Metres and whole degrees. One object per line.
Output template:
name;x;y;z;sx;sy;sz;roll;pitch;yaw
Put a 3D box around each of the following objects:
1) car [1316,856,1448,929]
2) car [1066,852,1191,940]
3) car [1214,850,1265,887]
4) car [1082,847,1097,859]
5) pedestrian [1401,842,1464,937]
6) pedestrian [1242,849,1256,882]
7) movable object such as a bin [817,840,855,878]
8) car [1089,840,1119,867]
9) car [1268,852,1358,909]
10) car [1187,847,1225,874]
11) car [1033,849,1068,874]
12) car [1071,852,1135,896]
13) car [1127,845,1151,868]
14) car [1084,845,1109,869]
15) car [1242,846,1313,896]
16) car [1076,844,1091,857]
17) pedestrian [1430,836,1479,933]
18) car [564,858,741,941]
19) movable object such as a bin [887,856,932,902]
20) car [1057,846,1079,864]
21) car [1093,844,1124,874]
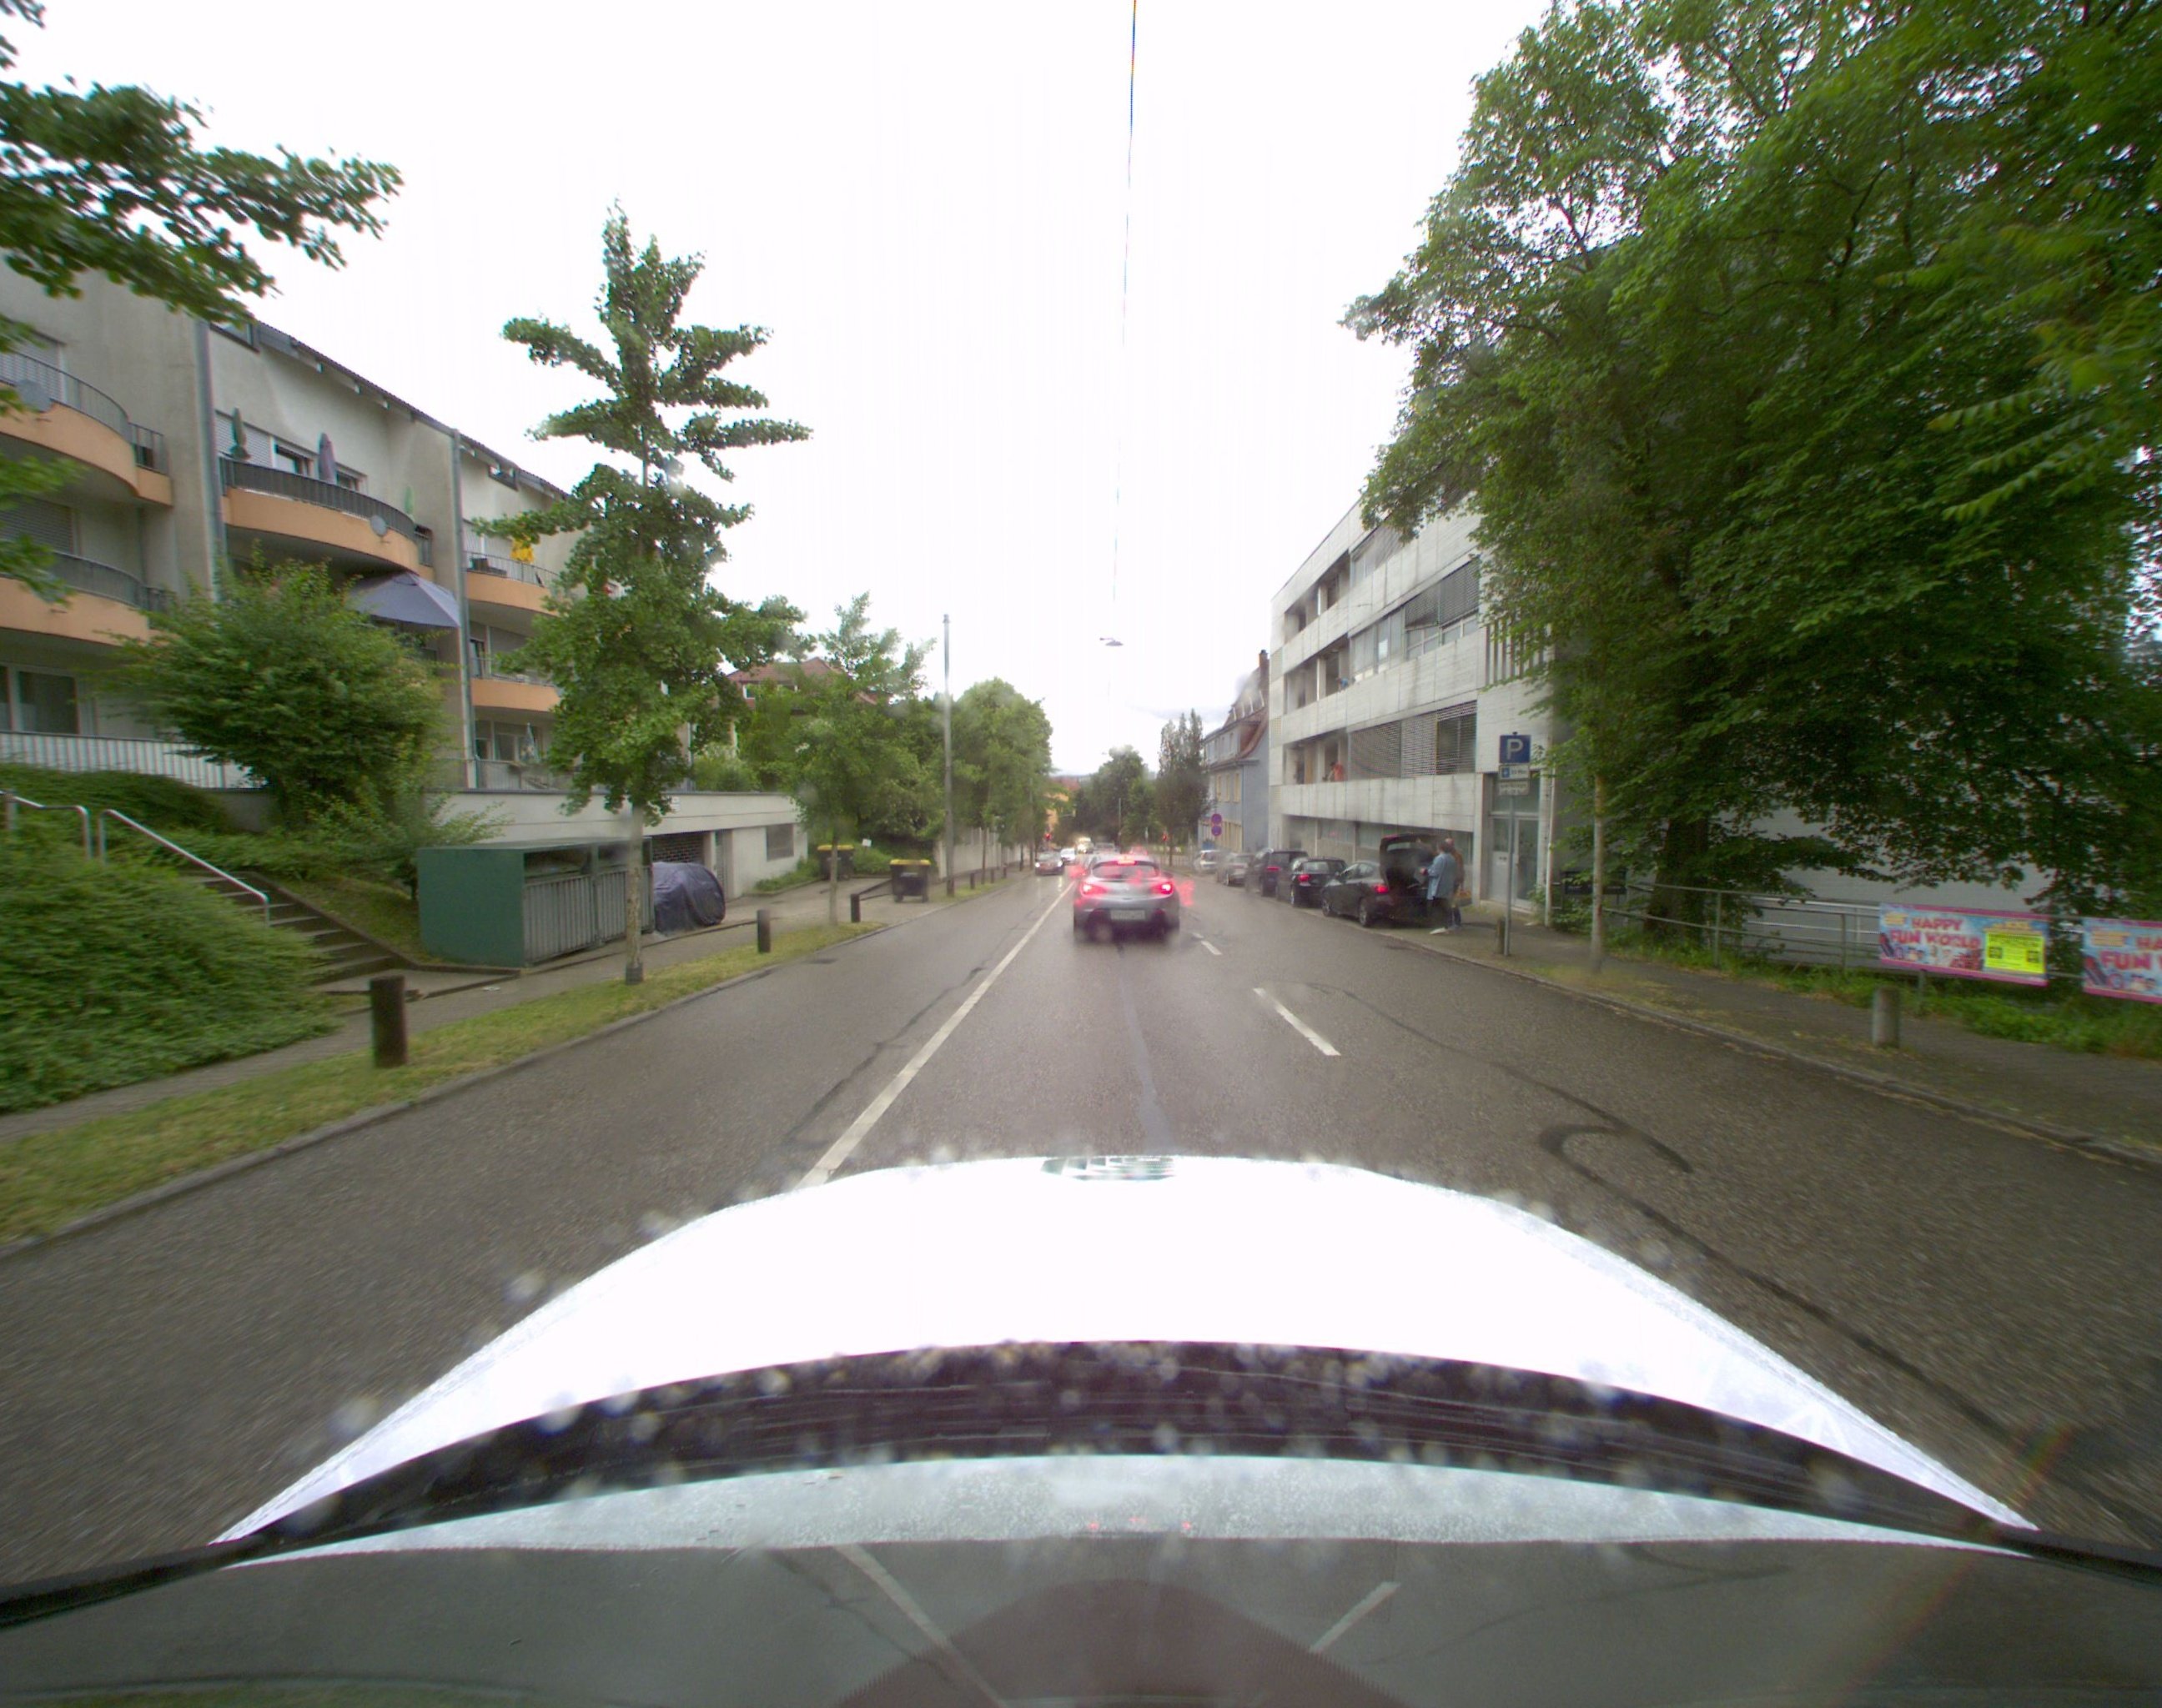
car;6.686;0.794;18.515;1.499;1.435;3.999;-1;0;0
car;0.742;0.687;15.296;1.941;1.432;3.880;0;0;-3
car;7.051;0.593;36.541;1.578;1.493;4.293;-1;1;2
car;1.285;-0.189;116.128;1.986;1.536;4.311;3;1;2
pedestrian;6.672;0.651;15.479;0.765;1.723;0.732;-3;1;-20
pedestrian;9.352;0.626;45.398;0.643;1.784;0.542;0;1;2
movable object such as a bin;-9.332;0.180;30.993;1.268;1.387;0.489;1;1;-2
car;1.964;-0.074;69.762;2.325;2.036;4.737;3;1;1
car;6.805;0.720;24.250;1.675;1.464;4.003;-1;1;2
car;7.808;0.375;51.236;1.899;1.570;4.003;-1;1;2
car;-1.926;0.438;52.728;1.843;1.469;4.090;-3;0;2
car;0.666;0.634;27.473;1.794;1.323;3.994;1;0;-4
car;5.532;0.206;78.395;1.986;2.036;4.737;3;1;1
car;1.137;0.232;61.542;1.749;1.651;3.999;3;0;-1
car;6.895;0.553;28.961;1.679;1.570;4.003;-1;1;2
car;0.391;-0.508;123.459;1.986;1.784;4.002;3;1;2
pedestrian;7.355;0.576;16.029;0.657;1.836;0.693;-2;1;42
car;-9.046;0.881;17.617;1.736;1.456;3.882;-4;0;-1
movable object such as a bin;-5.349;0.778;25.379;1.268;1.387;0.489;1;1;-2
car;-1.197;0.105;77.329;1.816;1.479;3.865;-4;1;2
car;1.764;0.300;53.527;1.763;1.781;3.976;3;1;-1
